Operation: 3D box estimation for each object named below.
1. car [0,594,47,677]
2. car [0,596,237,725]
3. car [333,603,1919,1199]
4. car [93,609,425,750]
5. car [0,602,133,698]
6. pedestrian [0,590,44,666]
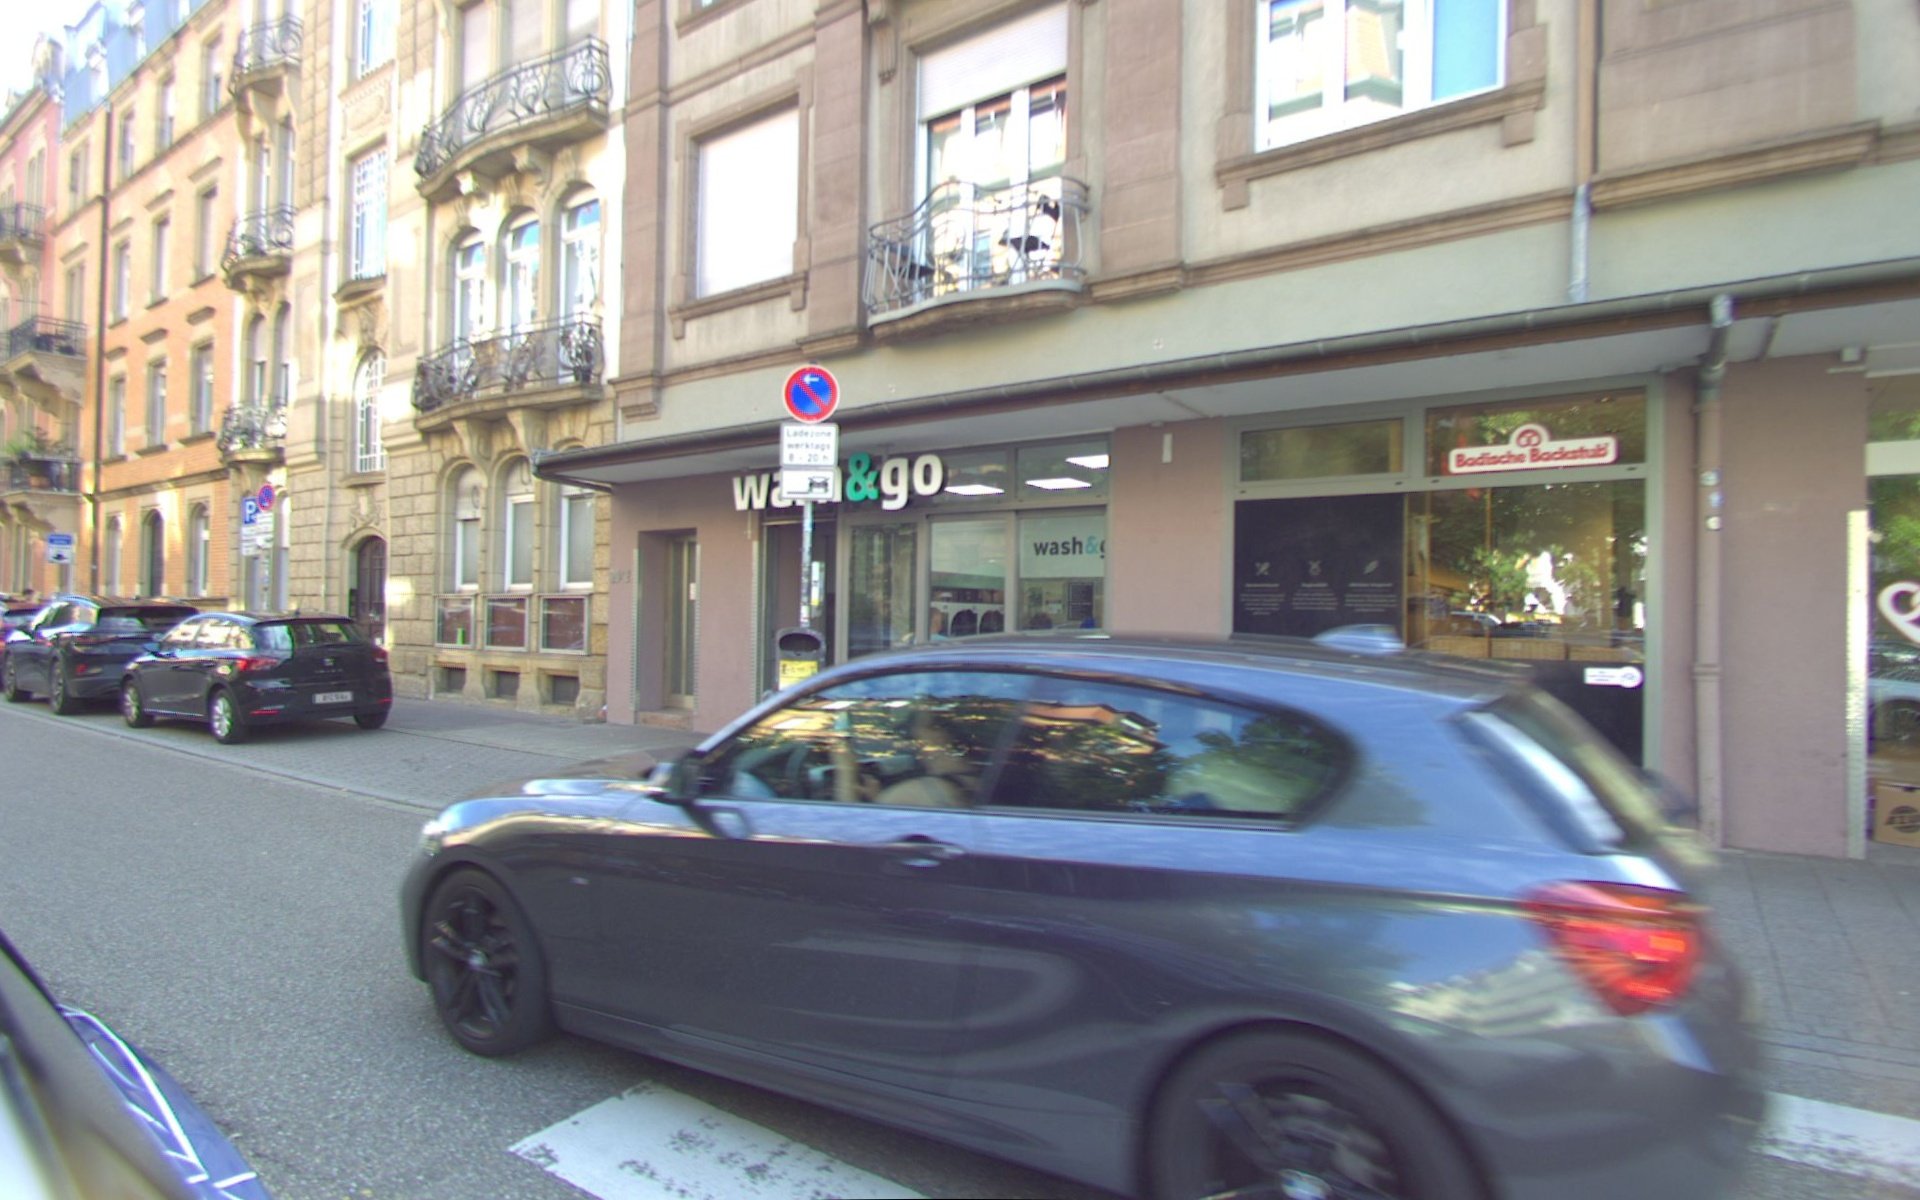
[{"bbox_3d":[-21.696,0.758,21.734,4.878,1.693,1.858,-1,-1,32],"label":"car"},{"bbox_3d":[-12.733,0.783,15.034,4.837,1.641,1.775,0,-1,36],"label":"car"},{"bbox_3d":[0.060,0.765,3.256,4.194,1.447,1.738,1,0,30],"label":"car"},{"bbox_3d":[-8.645,0.850,12.390,4.234,1.431,1.976,0,-2,35],"label":"car"},{"bbox_3d":[-17.046,0.827,18.393,4.416,1.556,1.976,0,-1,35],"label":"car"},{"bbox_3d":[-22.967,0.666,24.727,0.862,1.822,0.749,0,0,39],"label":"pedestrian"}]
